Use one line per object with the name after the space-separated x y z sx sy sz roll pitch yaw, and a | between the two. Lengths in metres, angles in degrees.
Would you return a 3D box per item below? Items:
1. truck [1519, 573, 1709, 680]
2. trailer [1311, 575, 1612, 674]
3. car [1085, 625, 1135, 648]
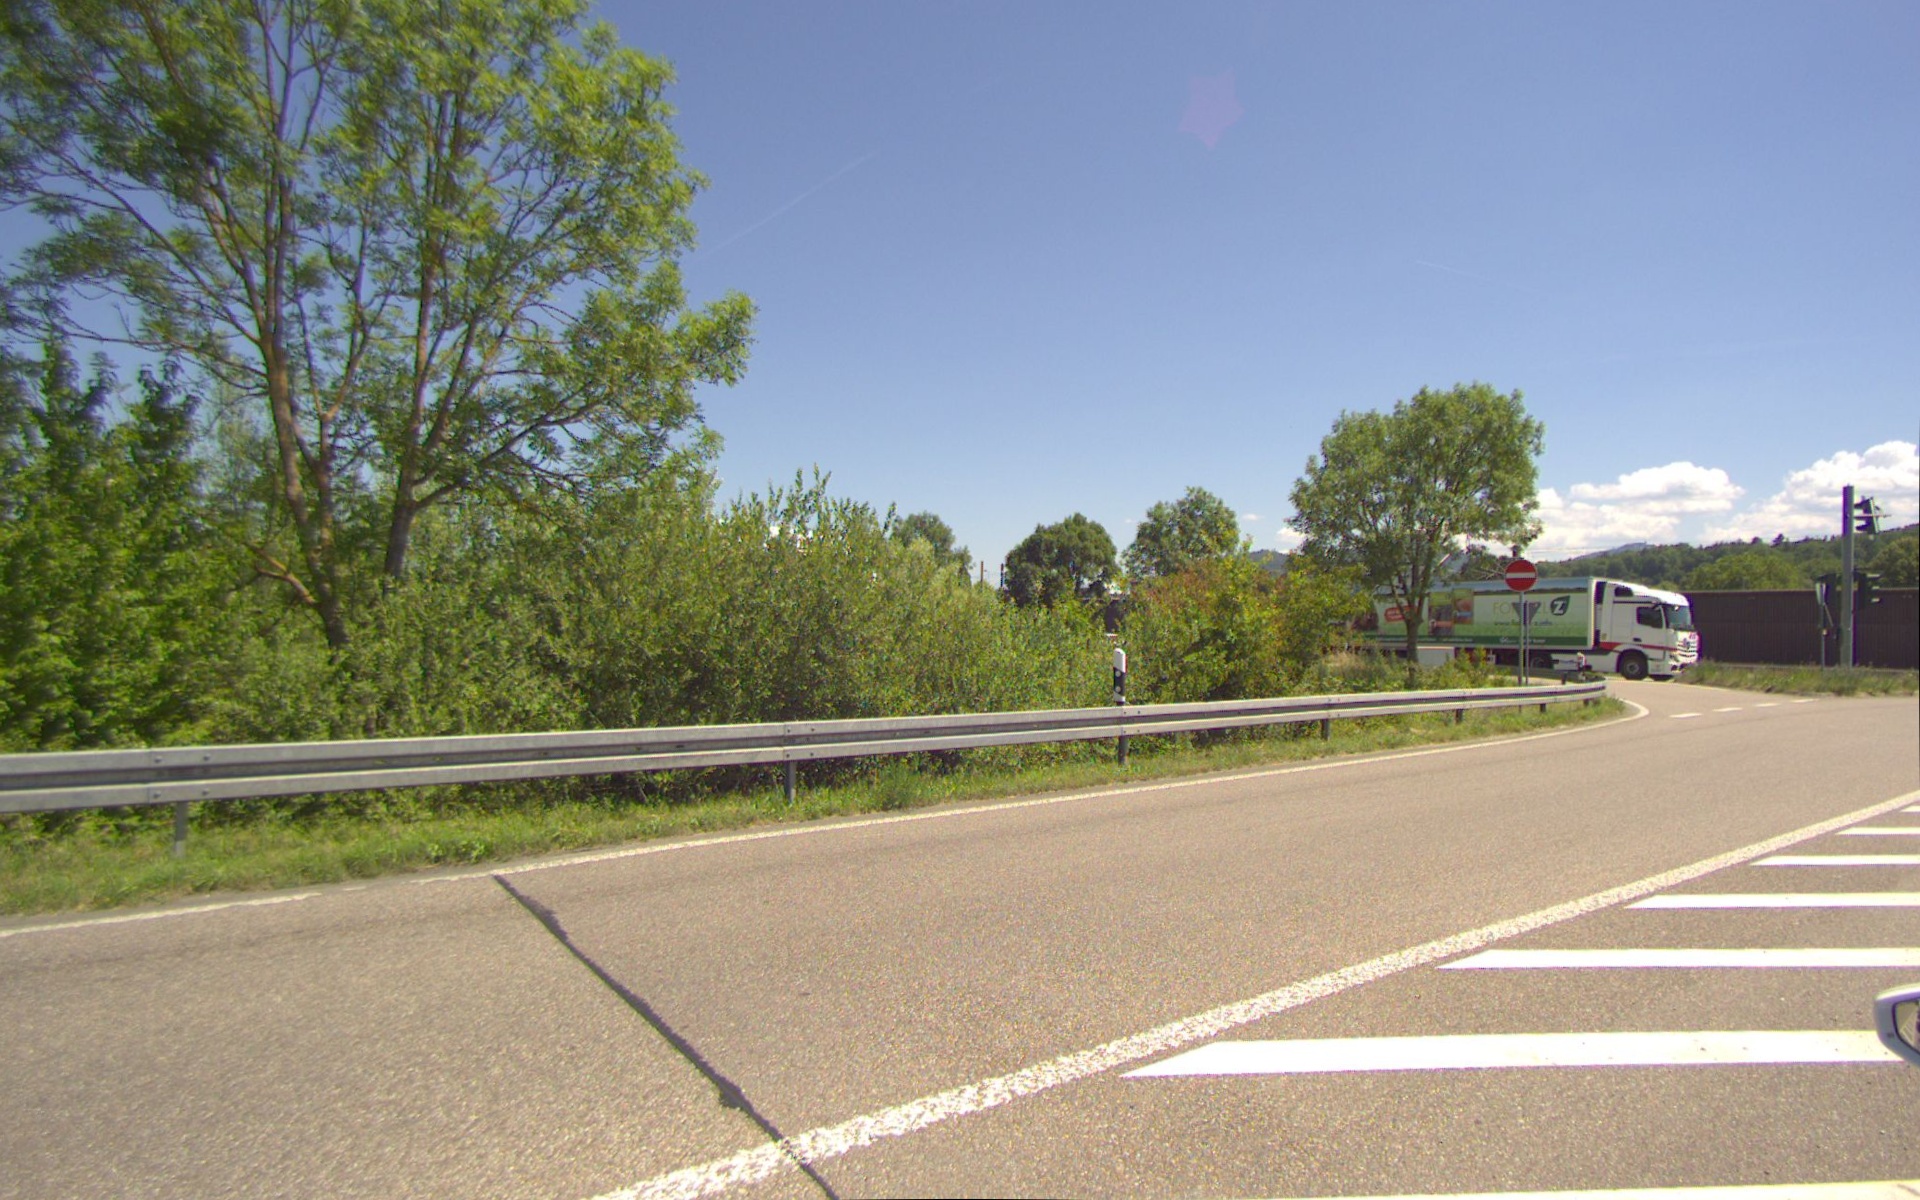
26.525 1.039 40.957 3.027 4.007 5.736 2 -1 -31 | truck
22.830 1.042 47.190 3.027 4.007 13.074 2 -1 -31 | trailer
10.371 2.506 69.677 1.537 1.484 3.455 2 -1 -31 | car
